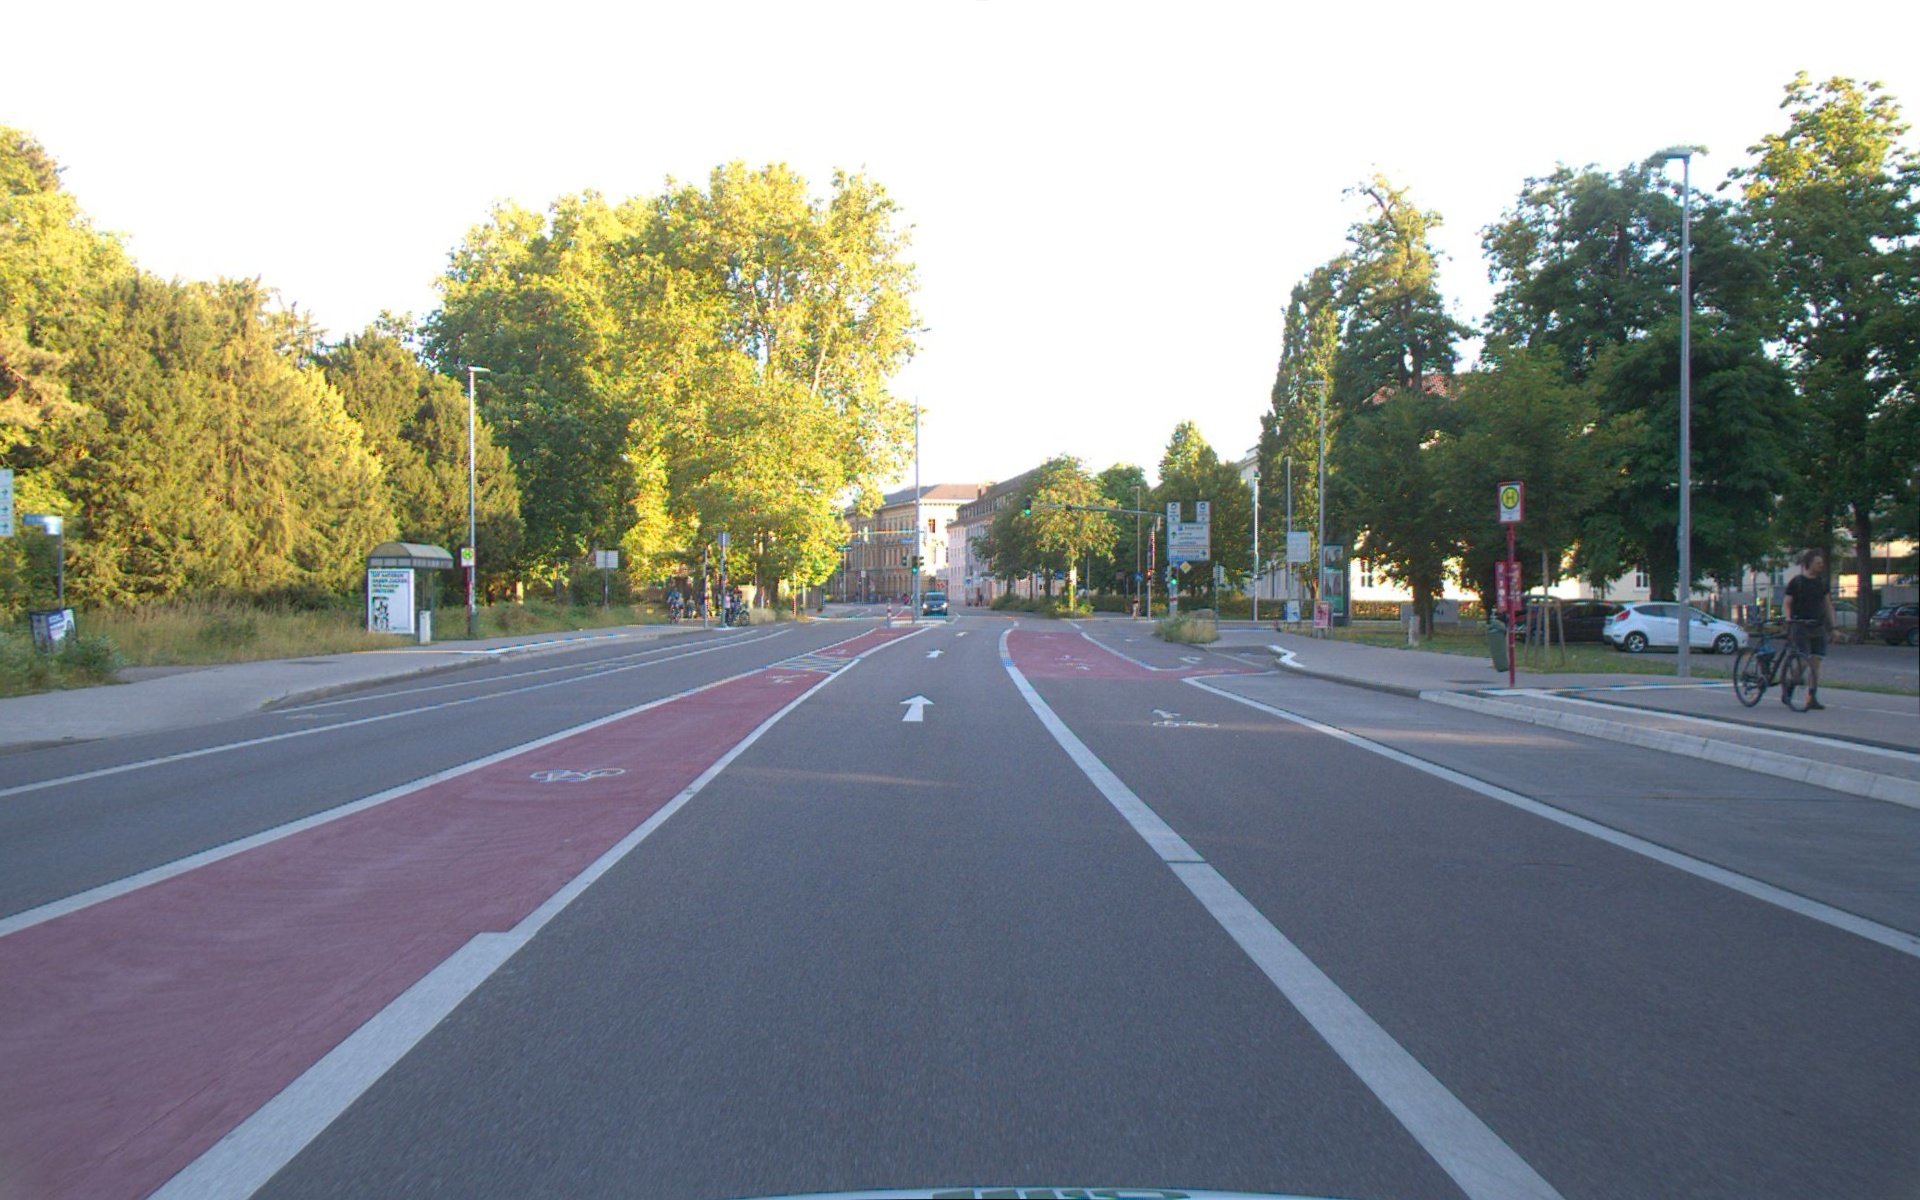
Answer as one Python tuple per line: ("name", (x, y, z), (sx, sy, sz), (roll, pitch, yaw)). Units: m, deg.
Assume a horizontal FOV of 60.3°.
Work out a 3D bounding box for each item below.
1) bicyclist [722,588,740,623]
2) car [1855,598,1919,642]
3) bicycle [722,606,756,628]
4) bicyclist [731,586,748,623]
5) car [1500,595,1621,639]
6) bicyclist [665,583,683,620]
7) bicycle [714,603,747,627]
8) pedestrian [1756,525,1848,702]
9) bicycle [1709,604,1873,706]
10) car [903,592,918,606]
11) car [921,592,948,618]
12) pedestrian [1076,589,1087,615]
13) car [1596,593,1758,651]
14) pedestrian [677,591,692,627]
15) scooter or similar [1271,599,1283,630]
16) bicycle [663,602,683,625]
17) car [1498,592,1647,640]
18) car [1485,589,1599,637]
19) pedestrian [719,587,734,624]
("bicyclist", (-11.082, 0.253, 80.017), (0.626, 1.678, 0.629), (0, 0, 33))
("car", (32.990, 0.689, 56.419), (3.902, 1.467, 1.903), (1, 0, 7))
("bicycle", (-10.915, 0.823, 81.651), (1.735, 1.048, 0.578), (0, 0, 34))
("bicyclist", (-10.891, 0.226, 81.634), (0.626, 1.811, 0.574), (0, 0, 33))
("car", (21.998, 0.600, 60.720), (3.902, 1.588, 1.787), (0, 0, 9))
("bicyclist", (-14.264, 0.068, 82.505), (0.720, 1.856, 0.712), (-1, -1, 1))
("bicycle", (-11.112, 0.716, 80.031), (1.536, 1.131, 0.631), (0, 0, 33))
("pedestrian", (9.984, 0.155, 19.635), (0.708, 2.049, 0.695), (1, 0, -1))
("bicycle", (9.939, 0.634, 19.876), (0.814, 1.116, 1.967), (-3, 0, -4))
("car", (-6.148, -0.116, 205.631), (1.782, 1.616, 3.999), (-1, 0, -1))
("car", (-1.822, 0.363, 119.006), (1.812, 1.750, 4.295), (-2, 0, 0))
("pedestrian", (9.572, 0.164, 130.307), (0.852, 2.049, 0.722), (1, 0, 2))
("car", (20.745, 0.612, 47.965), (3.902, 1.564, 1.913), (1, 0, 5))
("pedestrian", (-15.833, 0.498, 95.008), (0.644, 2.049, 0.598), (1, 0, -36))
("scooter or similar", (13.306, 0.604, 69.422), (0.304, 1.252, 1.311), (0, 0, 2))
("bicycle", (-14.324, 0.647, 82.562), (0.755, 1.120, 2.121), (0, 0, -4))
("car", (21.221, 0.564, 57.453), (4.473, 1.474, 1.901), (-2, -2, 4))
("car", (22.360, 0.492, 63.642), (3.814, 1.724, 1.838), (1, 0, 6))
("pedestrian", (-10.962, 0.238, 77.753), (0.594, 1.725, 0.499), (0, 0, 3))
